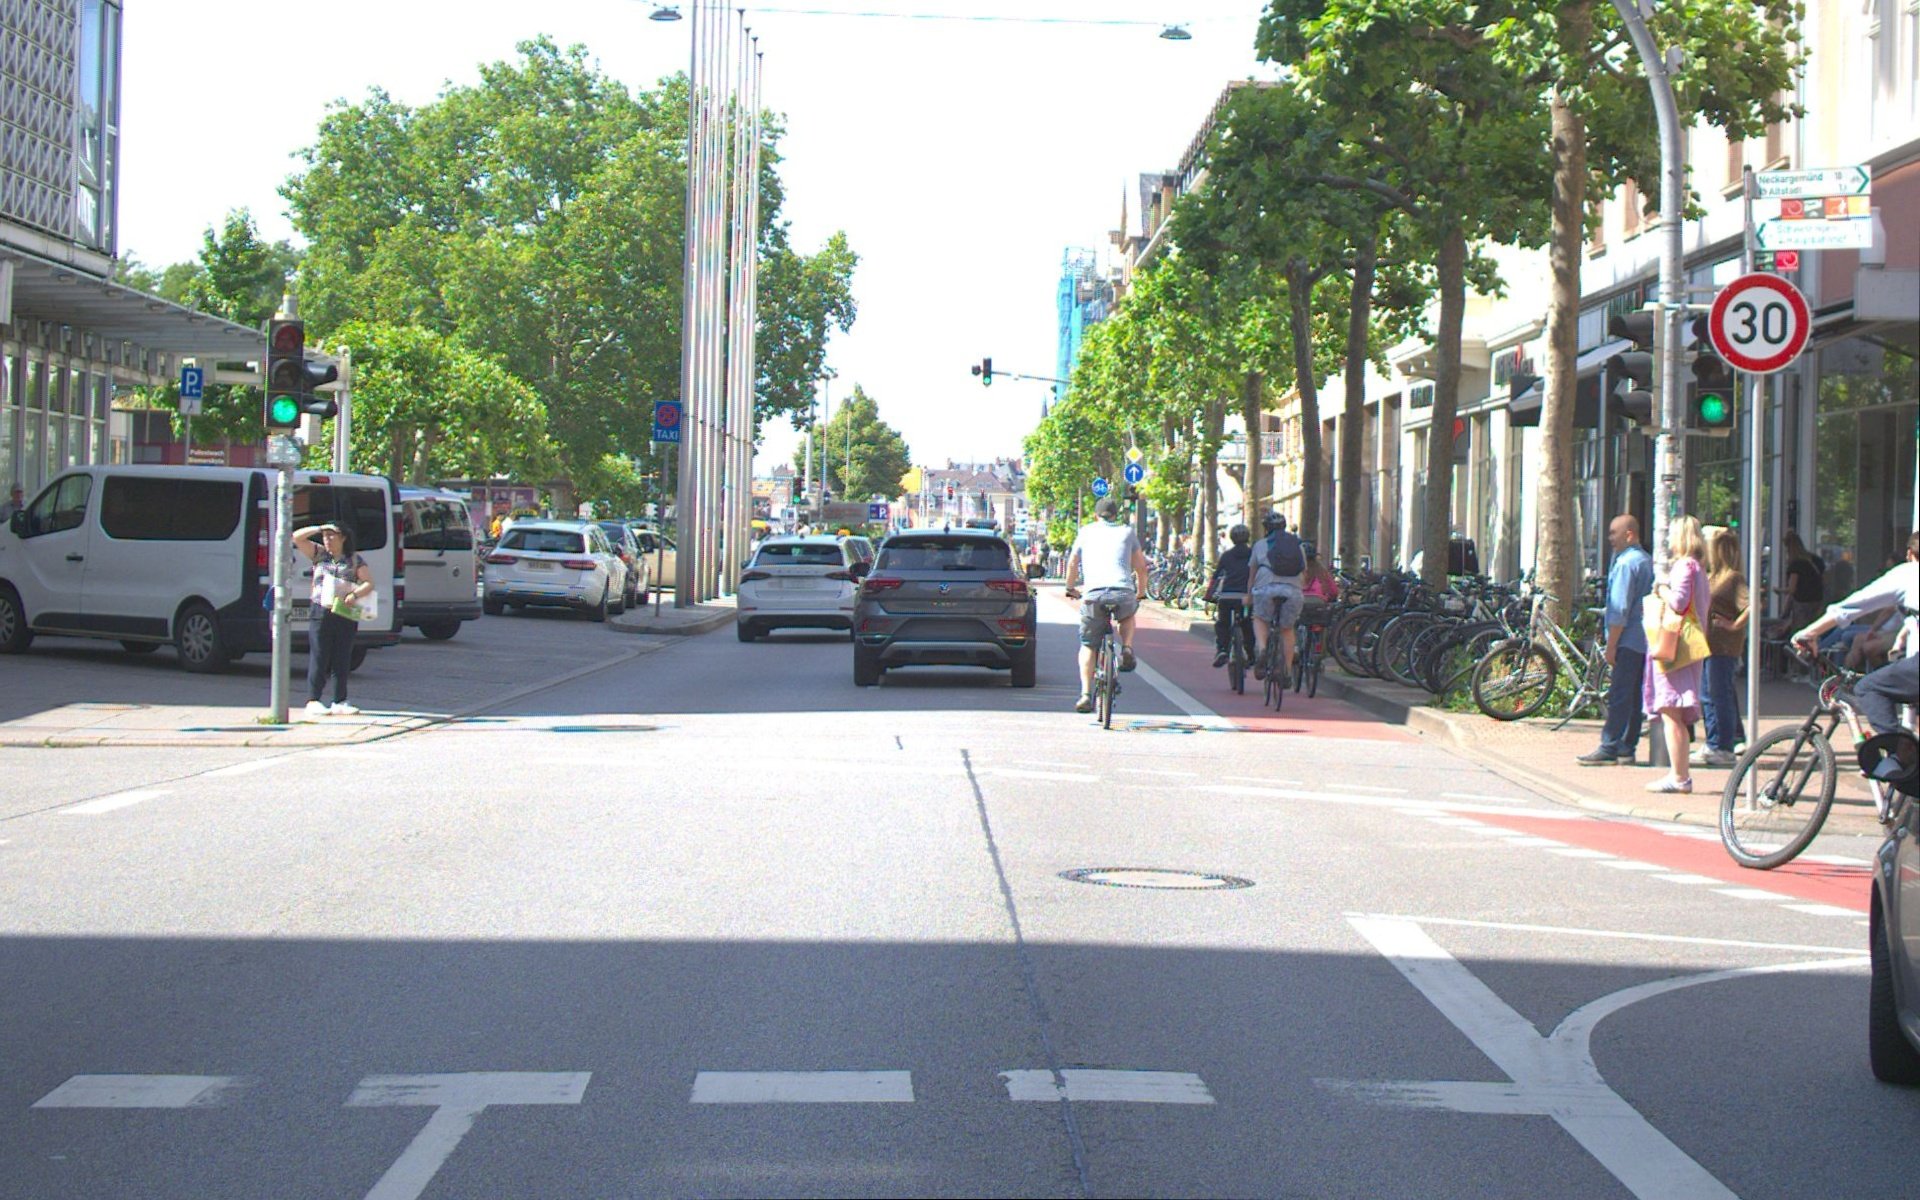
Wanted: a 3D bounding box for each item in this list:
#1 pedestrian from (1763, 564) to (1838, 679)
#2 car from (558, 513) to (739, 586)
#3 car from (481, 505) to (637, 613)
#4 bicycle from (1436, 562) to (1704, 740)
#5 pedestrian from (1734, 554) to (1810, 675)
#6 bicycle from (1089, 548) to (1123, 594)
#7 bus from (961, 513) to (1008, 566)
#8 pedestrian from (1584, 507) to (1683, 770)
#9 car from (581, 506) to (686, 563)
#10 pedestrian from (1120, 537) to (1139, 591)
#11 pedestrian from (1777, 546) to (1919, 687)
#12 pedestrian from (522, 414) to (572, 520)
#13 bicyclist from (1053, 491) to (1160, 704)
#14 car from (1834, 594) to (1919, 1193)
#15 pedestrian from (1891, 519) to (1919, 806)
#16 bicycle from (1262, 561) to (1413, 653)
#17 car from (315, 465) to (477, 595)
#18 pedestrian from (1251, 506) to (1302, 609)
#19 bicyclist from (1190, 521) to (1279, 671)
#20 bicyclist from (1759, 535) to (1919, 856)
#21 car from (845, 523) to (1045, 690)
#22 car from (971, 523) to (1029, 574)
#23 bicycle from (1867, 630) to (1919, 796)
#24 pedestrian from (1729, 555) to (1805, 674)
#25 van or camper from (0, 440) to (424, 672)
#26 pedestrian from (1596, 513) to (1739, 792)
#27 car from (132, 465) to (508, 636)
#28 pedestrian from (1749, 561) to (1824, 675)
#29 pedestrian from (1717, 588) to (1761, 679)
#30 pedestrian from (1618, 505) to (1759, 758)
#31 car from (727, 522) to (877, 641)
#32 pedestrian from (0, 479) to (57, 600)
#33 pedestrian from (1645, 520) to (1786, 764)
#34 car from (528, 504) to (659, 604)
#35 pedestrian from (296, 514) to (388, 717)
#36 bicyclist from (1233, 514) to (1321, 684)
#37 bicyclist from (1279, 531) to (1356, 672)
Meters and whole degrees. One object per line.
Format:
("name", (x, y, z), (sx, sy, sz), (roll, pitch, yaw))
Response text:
("pedestrian", (9.181, 0.232, 37.558), (0.639, 1.249, 0.609), (0, 0, -2))
("car", (-7.250, -1.212, 80.459), (1.894, 1.536, 4.855), (3, 3, 27))
("car", (-6.176, -0.674, 53.439), (1.799, 1.518, 4.739), (2, 2, 0))
("bicycle", (4.730, 0.377, 26.729), (1.855, 1.184, 0.715), (7, 5, 38))
("pedestrian", (9.142, 0.164, 38.700), (0.681, 1.333, 0.532), (1, 1, -2))
("bicycle", (3.287, -0.670, 77.480), (0.647, 0.994, 2.031), (1, 1, 0))
("bus", (1.685, -4.266, 243.738), (2.995, 3.581, 11.745), (2, 0, -1))
("pedestrian", (4.675, 0.258, 23.884), (0.452, 1.789, 0.608), (3, 1, -2))
("car", (-12.006, -2.385, 126.648), (1.861, 1.948, 4.755), (2, 0, 21))
("pedestrian", (5.142, -1.088, 104.277), (0.549, 1.625, 0.589), (0, 0, 3))
("pedestrian", (9.139, 0.168, 35.377), (1.233, 1.417, 0.790), (1, 0, -2))
("pedestrian", (-7.082, -2.287, 58.989), (0.532, 1.786, 0.538), (3, -1, 40))
("bicyclist", (1.145, -0.029, 27.018), (0.774, 1.629, 0.851), (1, 1, 0))
("car", (3.241, 0.751, 8.652), (1.629, 1.473, 3.730), (2, 0, 9))
("pedestrian", (6.446, 0.417, 22.289), (0.639, 1.836, 0.614), (4, 0, 12))
("bicycle", (4.886, 0.089, 44.549), (1.840, 1.089, 0.564), (3, 1, 0))
("car", (-9.284, -1.166, 56.933), (1.832, 2.007, 4.685), (2, 1, 0))
("pedestrian", (5.360, -0.727, 58.247), (0.639, 1.683, 0.843), (4, 2, -2))
("bicyclist", (2.705, -0.044, 33.967), (0.698, 1.435, 0.791), (3, 1, -3))
("bicyclist", (4.391, 0.444, 16.214), (0.959, 1.440, 0.699), (4, 1, 33))
("car", (-0.209, 0.016, 34.441), (1.845, 1.554, 4.001), (1, 1, -2))
("car", (1.406, -1.843, 121.528), (1.845, 1.662, 4.000), (3, 1, -1))
("bicycle", (5.750, 0.600, 18.053), (1.821, 0.841, 0.501), (1, 1, 1))
("pedestrian", (9.222, 0.162, 39.297), (0.681, 1.328, 0.532), (2, 1, -2))
("van or camper", (-7.614, -0.469, 33.686), (4.657, 2.006, 1.995), (4, 2, 40))
("pedestrian", (4.436, 0.329, 21.603), (0.639, 1.703, 0.790), (-2, -1, -3))
("car", (-7.841, -0.627, 41.950), (4.441, 1.903, 2.005), (3, 2, 37))
("pedestrian", (9.168, 0.200, 38.156), (0.681, 1.249, 0.532), (0, 1, -2))
("pedestrian", (8.538, 0.364, 37.685), (0.364, 0.965, 0.437), (2, 1, 2))
("pedestrian", (5.316, 0.219, 25.125), (0.787, 1.789, 0.641), (3, 1, -2))
("car", (-2.142, -0.291, 47.655), (1.845, 1.554, 4.000), (1, 1, 0))
("pedestrian", (-12.111, -0.787, 44.541), (0.678, 1.554, 0.641), (1, 1, -5))
("pedestrian", (5.361, 0.287, 24.415), (0.787, 1.684, 0.641), (2, 1, -2))
("car", (-6.269, -0.815, 59.237), (1.761, 1.594, 4.710), (2, 1, -1))
("pedestrian", (-4.894, 0.117, 27.201), (0.639, 1.554, 0.681), (3, 1, -11))
("bicyclist", (2.831, -0.021, 30.778), (0.630, 1.476, 1.198), (1, 2, 0))
("bicyclist", (3.523, 0.008, 33.932), (0.600, 1.353, 0.721), (2, 1, -3))
